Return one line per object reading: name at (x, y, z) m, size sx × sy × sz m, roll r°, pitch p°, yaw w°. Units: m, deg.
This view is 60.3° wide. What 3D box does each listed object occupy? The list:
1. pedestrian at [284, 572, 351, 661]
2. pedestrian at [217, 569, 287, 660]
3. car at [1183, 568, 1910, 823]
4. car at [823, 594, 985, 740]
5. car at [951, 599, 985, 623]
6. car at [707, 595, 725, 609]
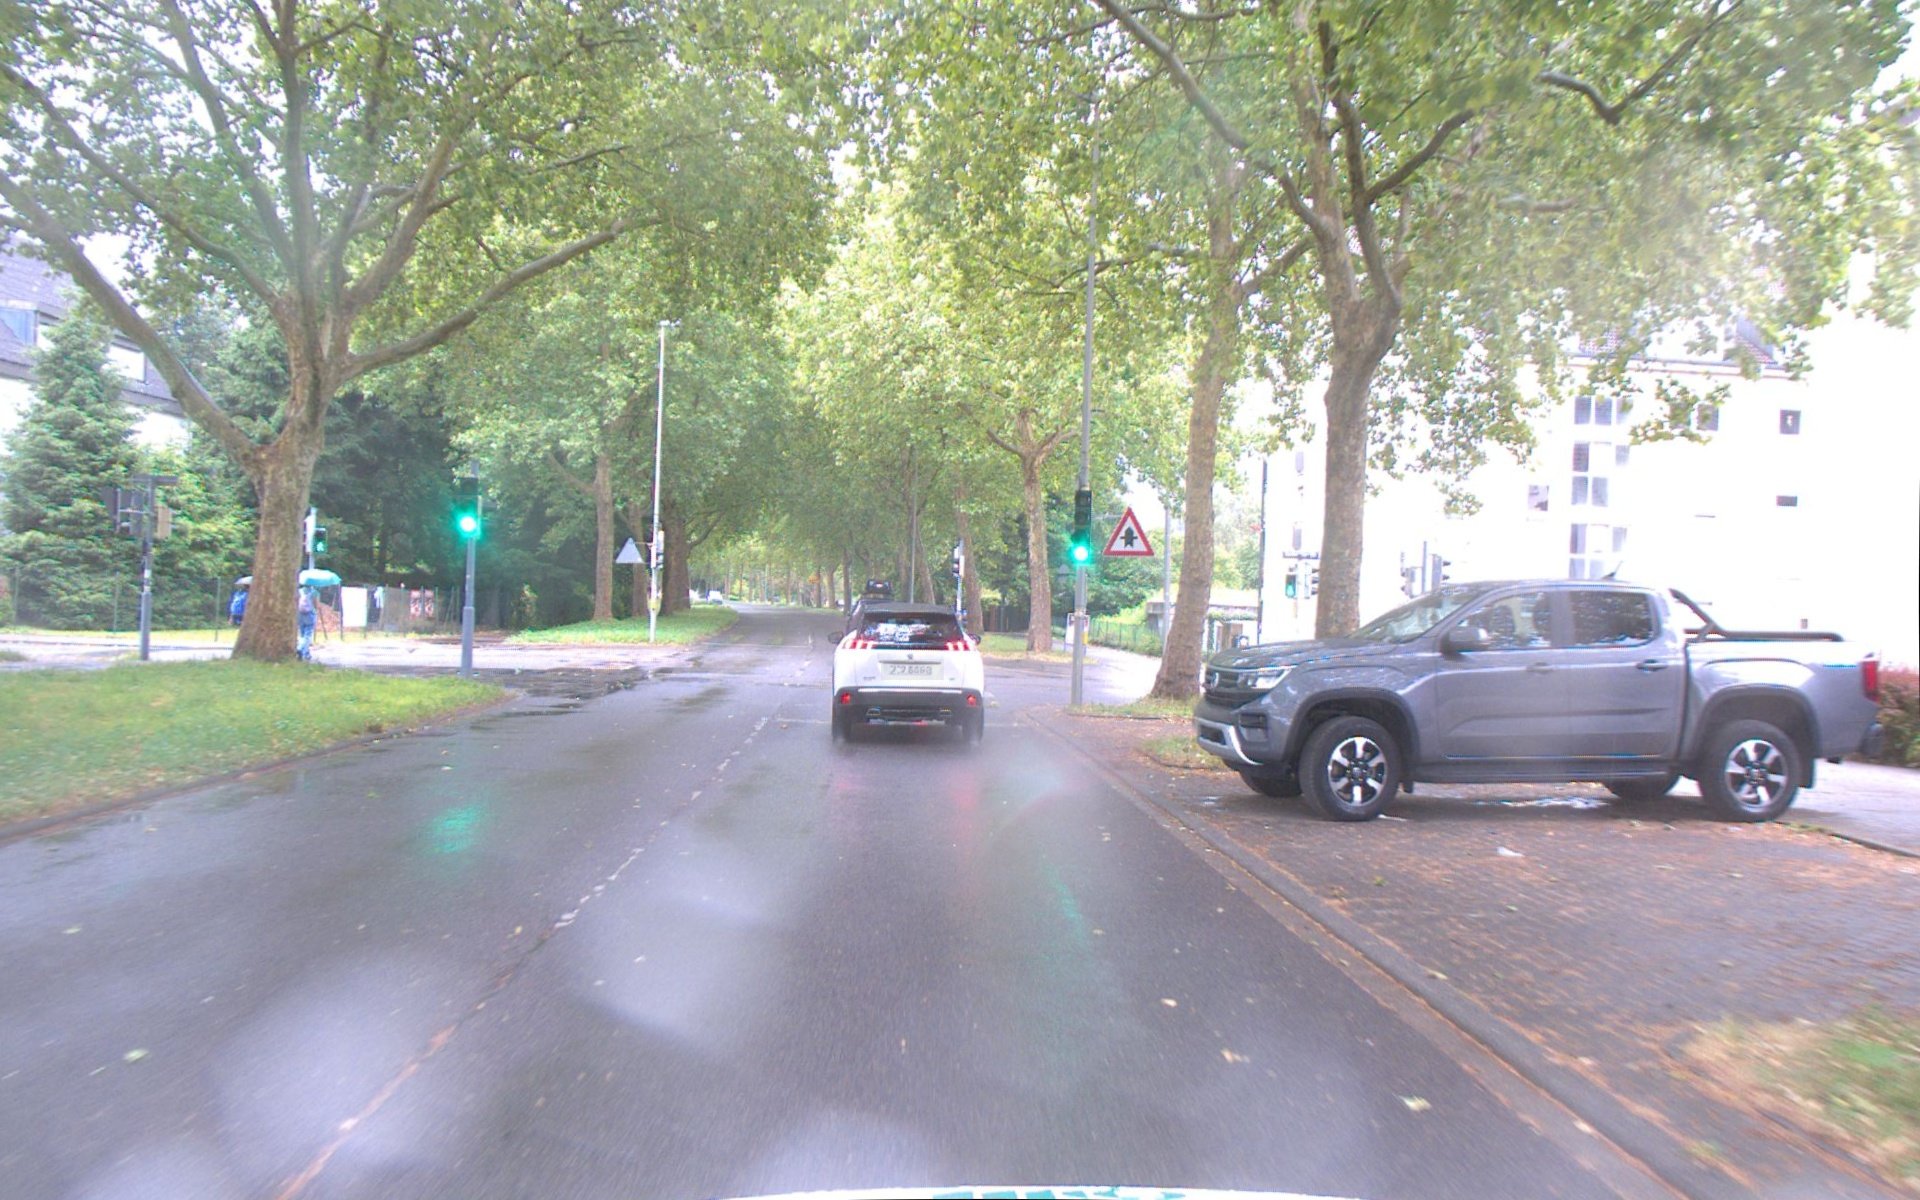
pedestrian at (-13.168, 0.333, 33.898) m, size 1.012 × 1.796 × 0.838 m, roll 1°, pitch 0°, yaw -1°
pedestrian at (-14.413, 0.291, 33.676) m, size 1.012 × 1.796 × 0.879 m, roll 1°, pitch 0°, yaw -1°
car at (4.565, 0.696, 13.218) m, size 5.238 × 1.838 × 1.842 m, roll 0°, pitch -1°, yaw -8°
car at (-0.652, 0.729, 20.109) m, size 1.744 × 1.563 × 4.056 m, roll 1°, pitch 0°, yaw -1°
car at (0.519, 0.722, 108.902) m, size 1.868 × 1.536 × 3.927 m, roll 2°, pitch 0°, yaw -5°
car at (-30.390, 0.283, 206.160) m, size 1.837 × 1.706 × 3.704 m, roll 2°, pitch 0°, yaw -5°
